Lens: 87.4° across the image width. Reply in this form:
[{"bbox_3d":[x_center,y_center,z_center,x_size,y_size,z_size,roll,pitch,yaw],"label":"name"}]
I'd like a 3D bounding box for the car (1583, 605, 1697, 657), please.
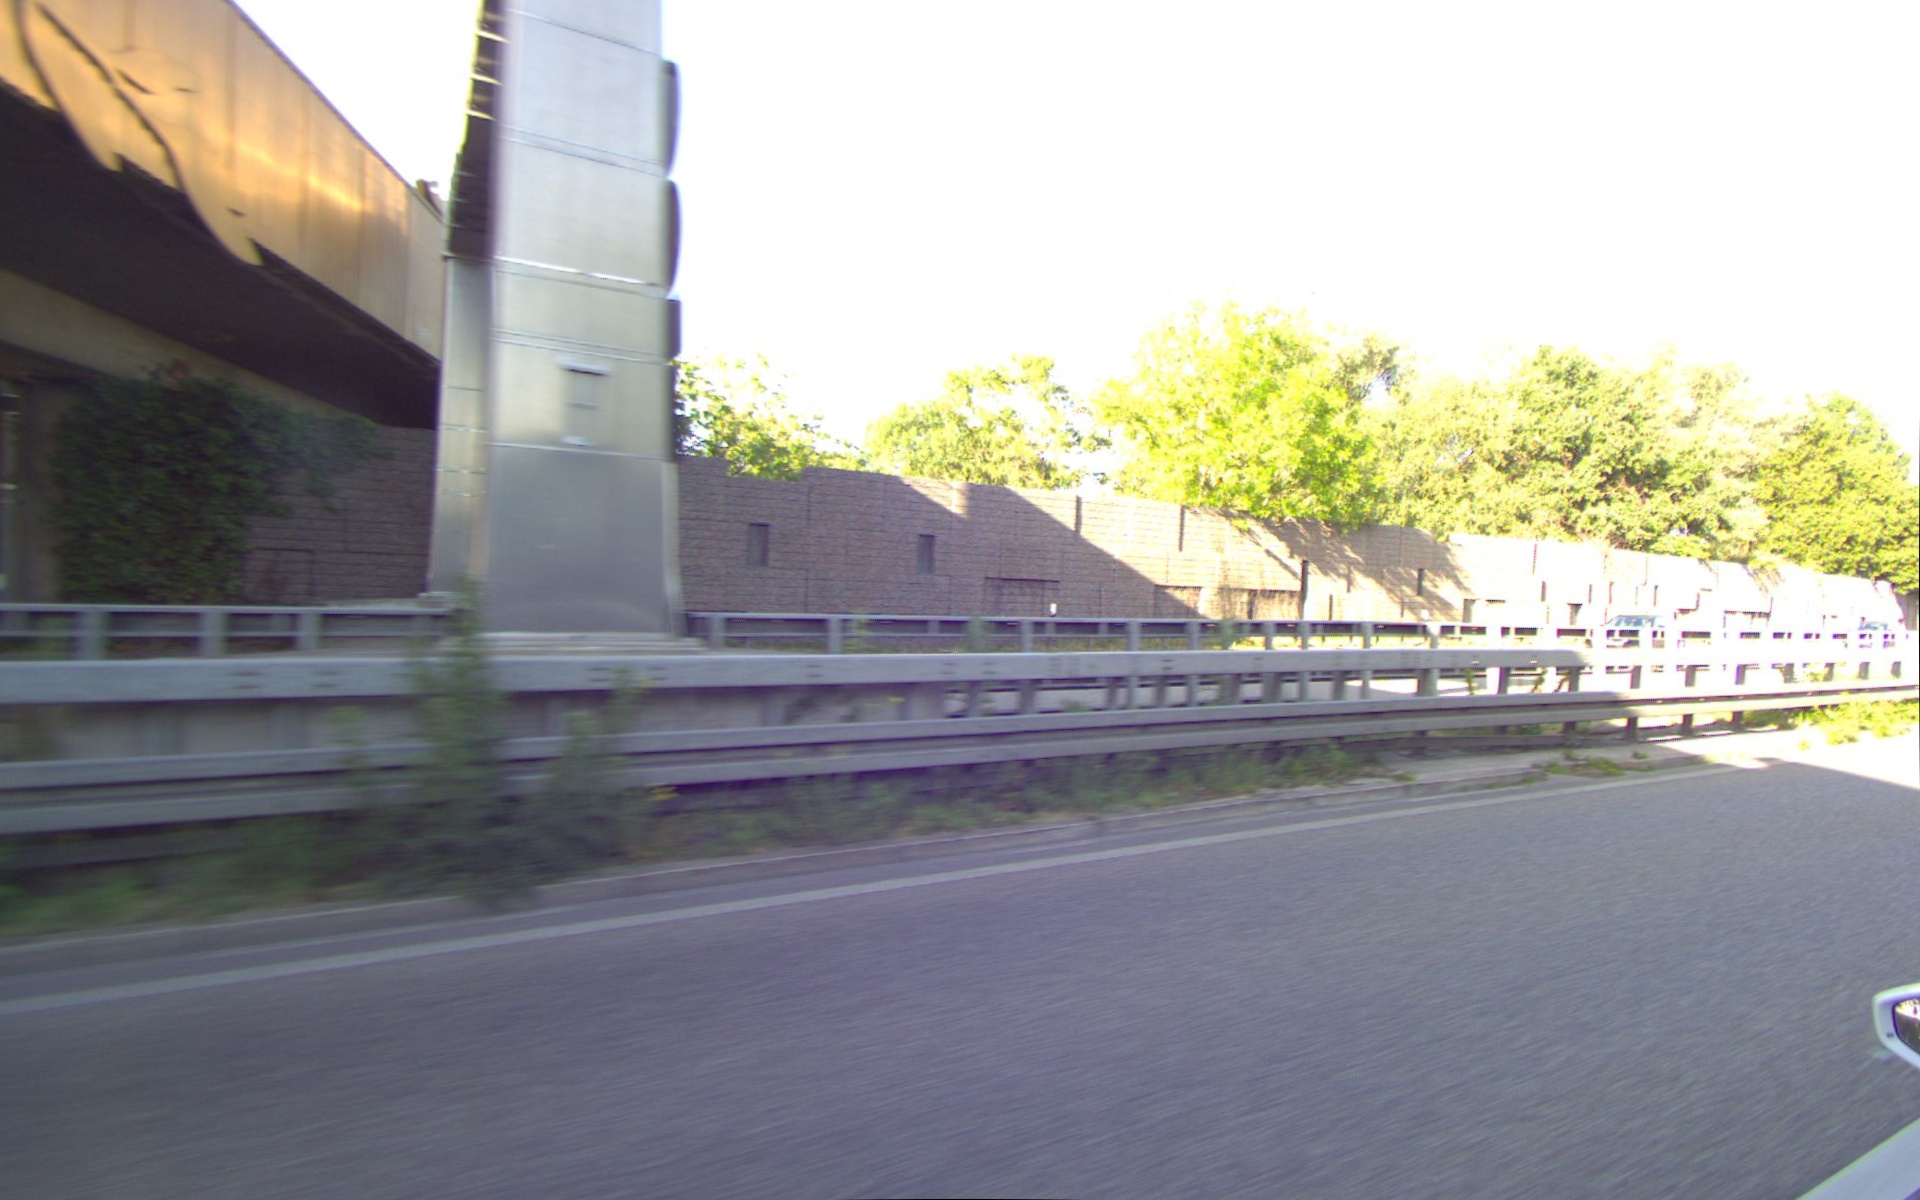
[{"bbox_3d":[22.985,1.015,33.922,4.348,1.595,1.536,1,3,-33],"label":"car"}]
